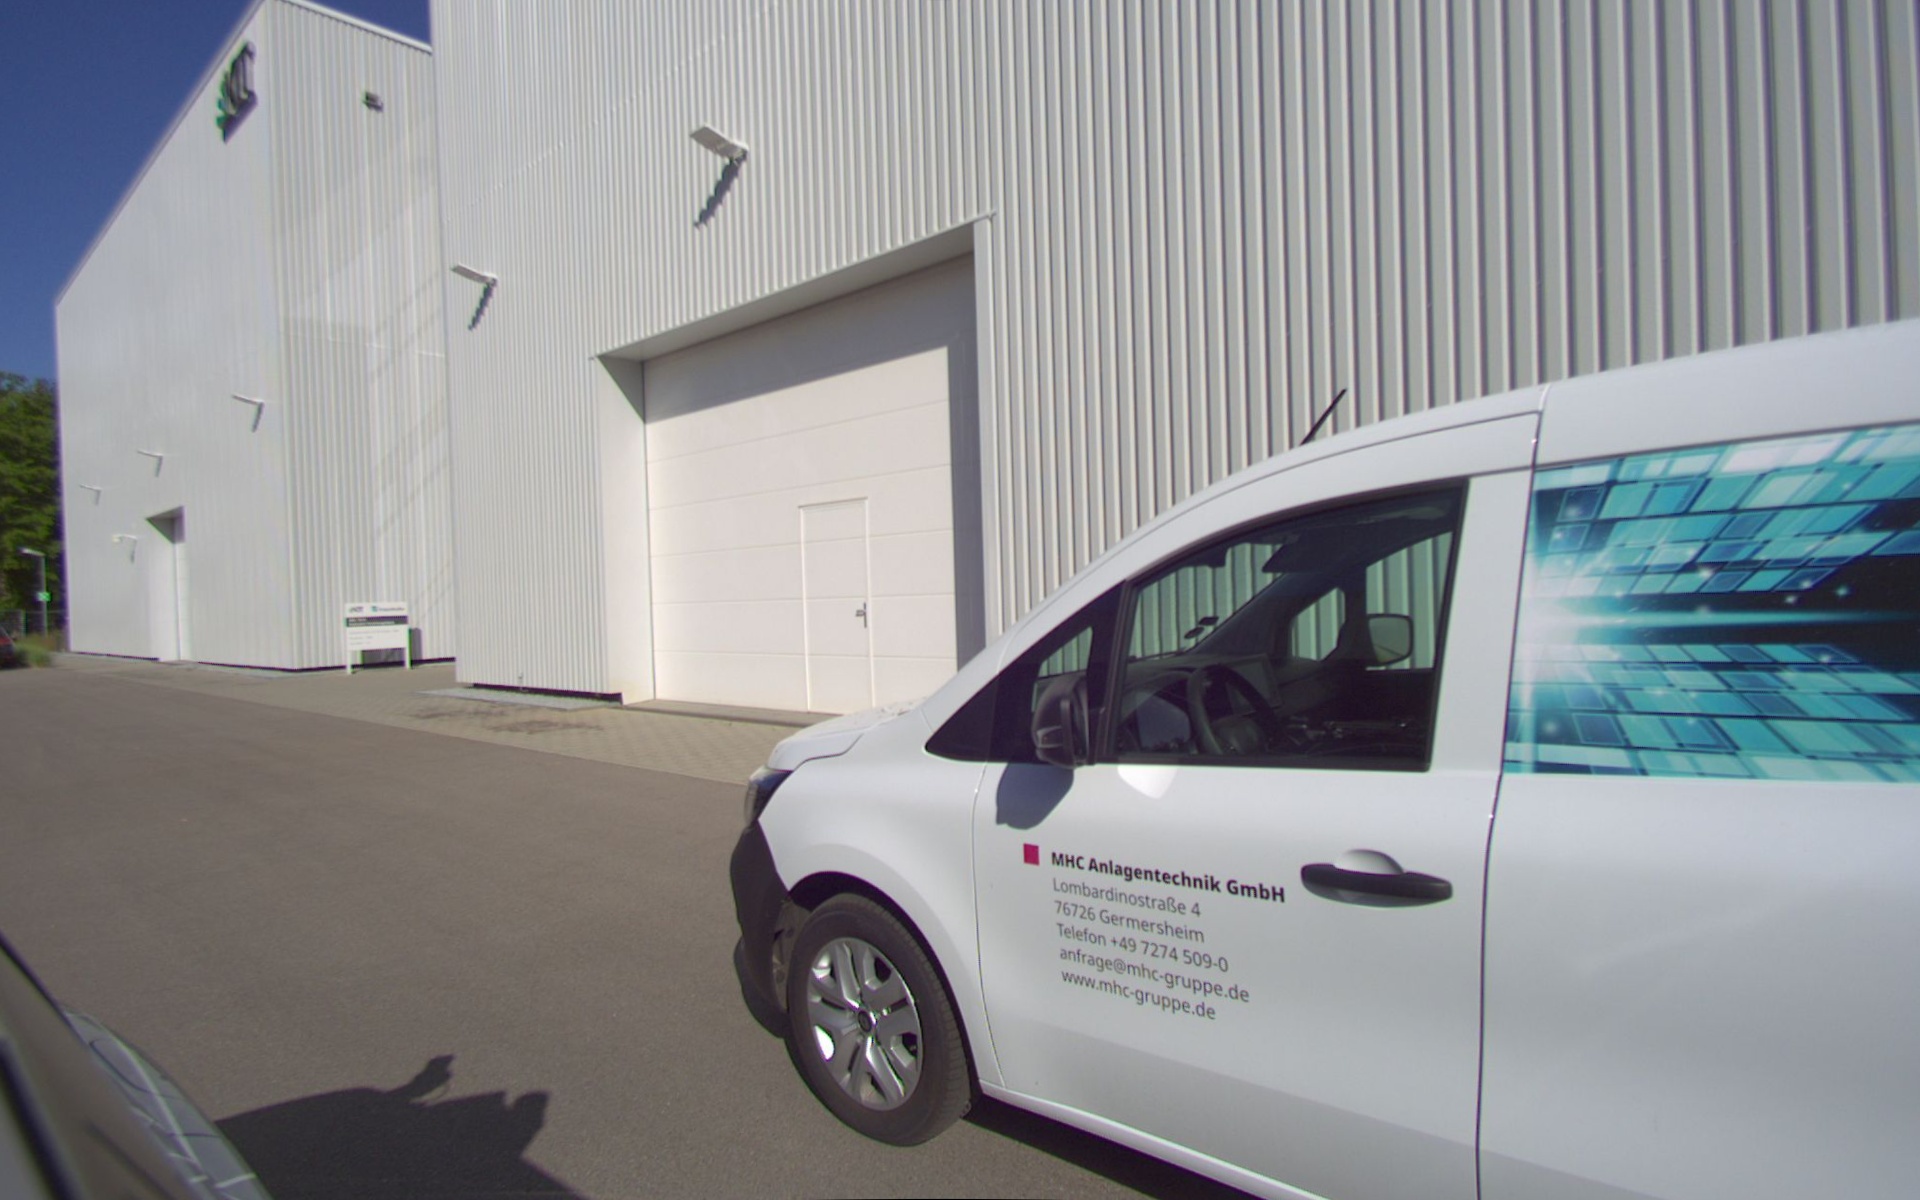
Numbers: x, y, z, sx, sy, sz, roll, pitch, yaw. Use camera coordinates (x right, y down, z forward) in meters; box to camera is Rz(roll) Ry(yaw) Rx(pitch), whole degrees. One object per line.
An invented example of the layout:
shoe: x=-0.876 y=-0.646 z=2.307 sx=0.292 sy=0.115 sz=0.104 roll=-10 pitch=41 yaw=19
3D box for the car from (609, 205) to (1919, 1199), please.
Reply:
car: x=1.221 y=0.417 z=2.346 sx=4.600 sy=1.829 sz=1.765 roll=-1 pitch=2 yaw=42

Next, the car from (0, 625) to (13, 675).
car: x=-30.572 y=1.599 z=31.101 sx=4.313 sy=1.456 sz=1.738 roll=-2 pitch=1 yaw=42

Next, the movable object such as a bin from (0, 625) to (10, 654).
movable object such as a bin: x=-48.194 y=1.982 z=50.439 sx=1.288 sy=1.445 sz=1.126 roll=-2 pitch=-2 yaw=42
